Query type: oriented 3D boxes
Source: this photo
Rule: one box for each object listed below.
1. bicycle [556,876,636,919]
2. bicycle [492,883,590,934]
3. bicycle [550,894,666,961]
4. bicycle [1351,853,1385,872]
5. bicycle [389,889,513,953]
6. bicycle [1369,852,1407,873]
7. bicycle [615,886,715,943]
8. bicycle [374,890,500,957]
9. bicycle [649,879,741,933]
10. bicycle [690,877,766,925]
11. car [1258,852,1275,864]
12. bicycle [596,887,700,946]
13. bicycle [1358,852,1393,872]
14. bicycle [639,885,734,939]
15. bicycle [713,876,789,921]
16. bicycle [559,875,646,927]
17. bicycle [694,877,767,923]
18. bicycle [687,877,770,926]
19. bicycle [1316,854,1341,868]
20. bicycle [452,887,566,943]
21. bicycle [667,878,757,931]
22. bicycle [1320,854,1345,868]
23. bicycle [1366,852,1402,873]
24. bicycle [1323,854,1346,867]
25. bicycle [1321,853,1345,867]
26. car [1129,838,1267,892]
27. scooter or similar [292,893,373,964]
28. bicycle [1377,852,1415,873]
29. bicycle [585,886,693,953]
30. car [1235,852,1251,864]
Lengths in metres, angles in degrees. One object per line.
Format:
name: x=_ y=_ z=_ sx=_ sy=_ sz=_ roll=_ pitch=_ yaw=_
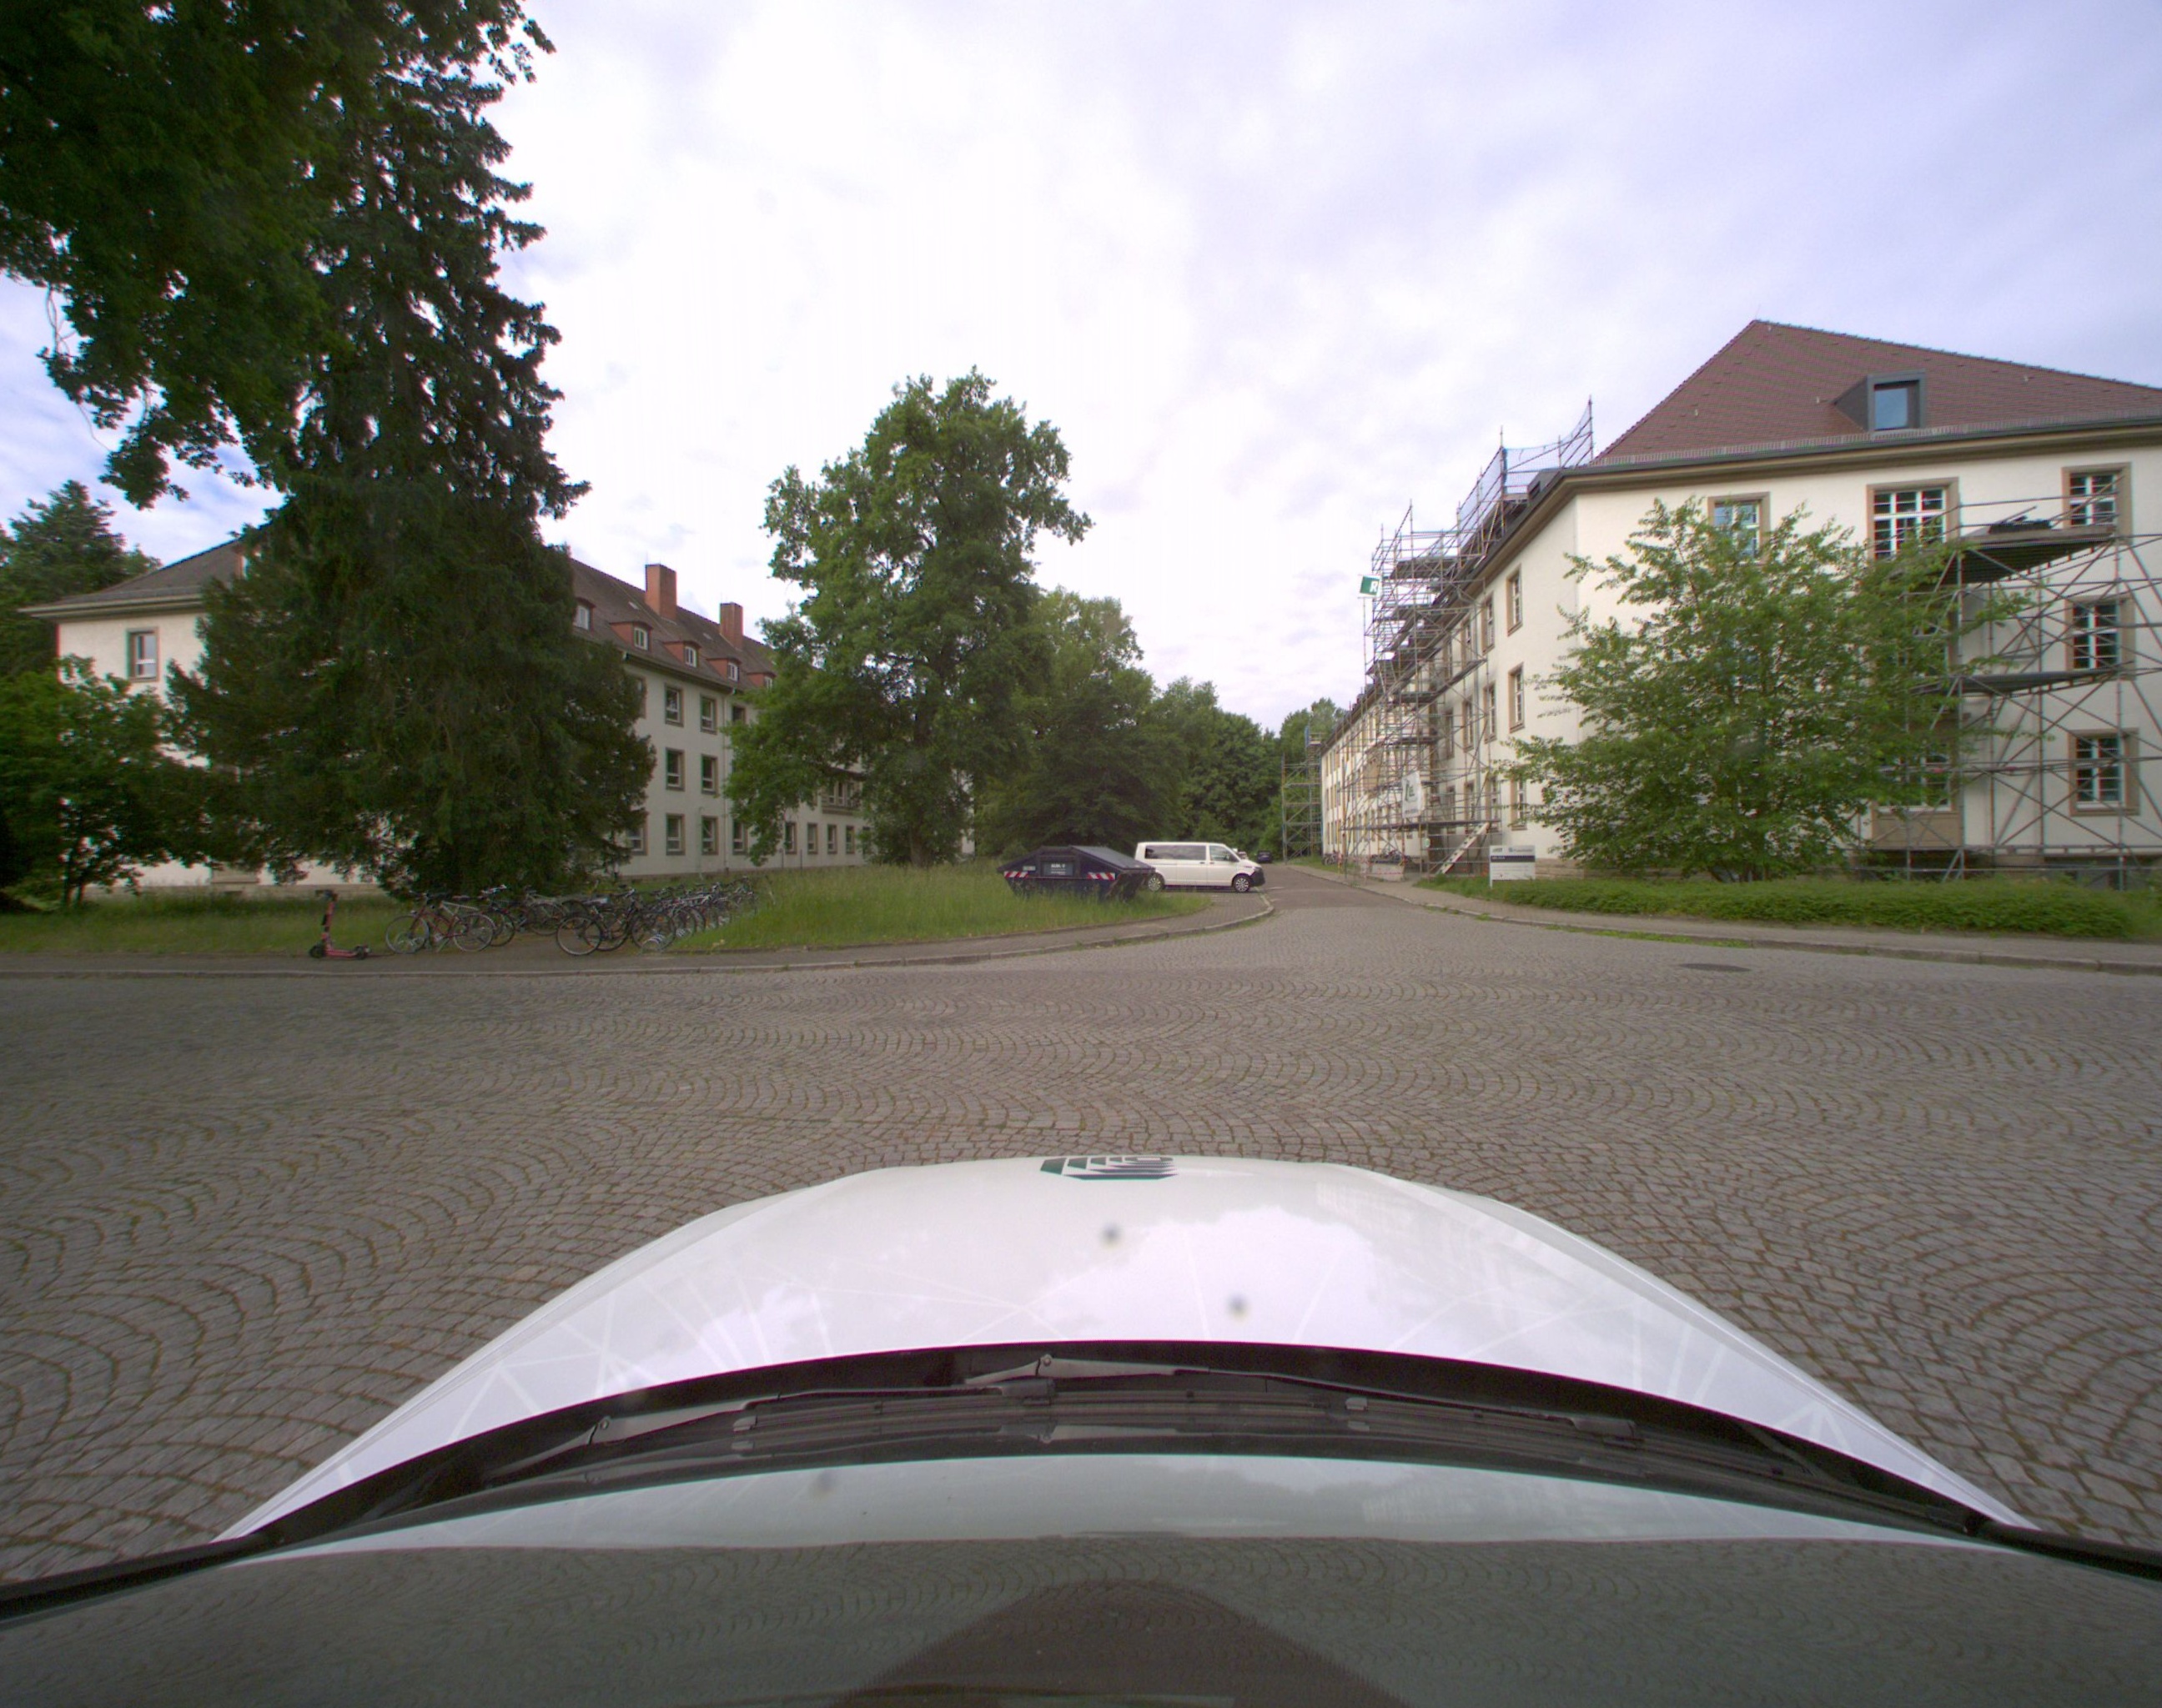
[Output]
bicycle: x=-12.520 y=1.108 z=21.058 sx=1.675 sy=1.042 sz=0.550 roll=-1 pitch=-1 yaw=-5
bicycle: x=-12.190 y=1.219 z=18.425 sx=1.752 sy=1.065 sz=0.548 roll=-1 pitch=-1 yaw=-16
bicycle: x=-8.059 y=1.233 z=13.929 sx=1.623 sy=1.008 sz=0.474 roll=-2 pitch=-1 yaw=-21
bicycle: x=17.186 y=0.498 z=48.793 sx=1.841 sy=1.095 sz=0.513 roll=-1 pitch=-1 yaw=17
bicycle: x=-11.866 y=1.252 z=15.372 sx=1.798 sy=1.114 sz=0.550 roll=-1 pitch=-1 yaw=-8
bicycle: x=16.503 y=0.462 z=43.841 sx=1.841 sy=1.095 sz=0.513 roll=-1 pitch=-1 yaw=17
bicycle: x=-8.257 y=1.191 z=16.193 sx=1.660 sy=1.008 sz=0.476 roll=-3 pitch=-1 yaw=-7
bicycle: x=-11.746 y=1.255 z=14.892 sx=1.763 sy=1.114 sz=0.550 roll=-1 pitch=-1 yaw=-8
bicycle: x=-8.461 y=1.122 z=17.898 sx=1.757 sy=1.112 sz=0.476 roll=-1 pitch=-1 yaw=-7
bicycle: x=-8.718 y=1.151 z=20.136 sx=1.641 sy=1.112 sz=0.442 roll=-1 pitch=-1 yaw=-1
car: x=21.294 y=0.426 z=93.697 sx=1.570 sy=1.371 sz=3.962 roll=-1 pitch=0 yaw=8
bicycle: x=-8.260 y=1.185 z=15.571 sx=1.660 sy=1.008 sz=0.476 roll=-3 pitch=-1 yaw=-7
bicycle: x=16.798 y=0.481 z=46.424 sx=1.841 sy=1.095 sz=0.513 roll=-1 pitch=-1 yaw=17
bicycle: x=-8.199 y=1.197 z=16.969 sx=1.660 sy=1.008 sz=0.476 roll=-3 pitch=-1 yaw=-7
bicycle: x=-8.592 y=1.153 z=21.238 sx=1.757 sy=1.112 sz=0.476 roll=-1 pitch=-1 yaw=-7
bicycle: x=-11.383 y=1.115 z=19.397 sx=1.742 sy=1.171 sz=0.552 roll=-1 pitch=-1 yaw=1
bicycle: x=-8.891 y=1.158 z=20.664 sx=1.641 sy=1.112 sz=0.442 roll=-1 pitch=-1 yaw=-1
bicycle: x=-8.516 y=1.139 z=19.713 sx=1.757 sy=1.112 sz=0.476 roll=-1 pitch=-1 yaw=-7
bicycle: x=19.840 y=0.546 z=65.241 sx=1.838 sy=1.095 sz=0.514 roll=-1 pitch=-1 yaw=32
bicycle: x=-11.950 y=1.253 z=17.068 sx=1.823 sy=1.065 sz=0.615 roll=-1 pitch=-1 yaw=-16
bicycle: x=-8.323 y=1.125 z=18.419 sx=1.761 sy=1.112 sz=0.476 roll=-1 pitch=-1 yaw=-12
bicycle: x=20.710 y=0.556 z=66.992 sx=1.838 sy=1.095 sz=0.514 roll=-1 pitch=-1 yaw=32
bicycle: x=16.876 y=0.472 z=45.399 sx=1.841 sy=1.095 sz=0.513 roll=-1 pitch=-1 yaw=17
bicycle: x=21.489 y=0.566 z=69.063 sx=1.841 sy=1.095 sz=0.513 roll=-1 pitch=-1 yaw=17
bicycle: x=21.152 y=0.505 z=68.316 sx=1.841 sy=1.095 sz=0.513 roll=-1 pitch=-1 yaw=17
car: x=4.678 y=0.446 z=32.536 sx=5.227 sy=1.996 sz=1.974 roll=-1 pitch=0 yaw=9
scooter or similar: x=-13.102 y=1.300 z=14.263 sx=1.128 sy=1.210 sz=0.358 roll=-1 pitch=-1 yaw=5
bicycle: x=16.718 y=0.454 z=43.248 sx=1.841 sy=1.095 sz=0.513 roll=-1 pitch=-1 yaw=17
bicycle: x=-7.908 y=1.158 z=14.626 sx=1.623 sy=1.074 sz=0.474 roll=-2 pitch=-1 yaw=-21
car: x=18.748 y=0.452 z=94.161 sx=1.570 sy=1.339 sz=3.962 roll=-1 pitch=0 yaw=8
